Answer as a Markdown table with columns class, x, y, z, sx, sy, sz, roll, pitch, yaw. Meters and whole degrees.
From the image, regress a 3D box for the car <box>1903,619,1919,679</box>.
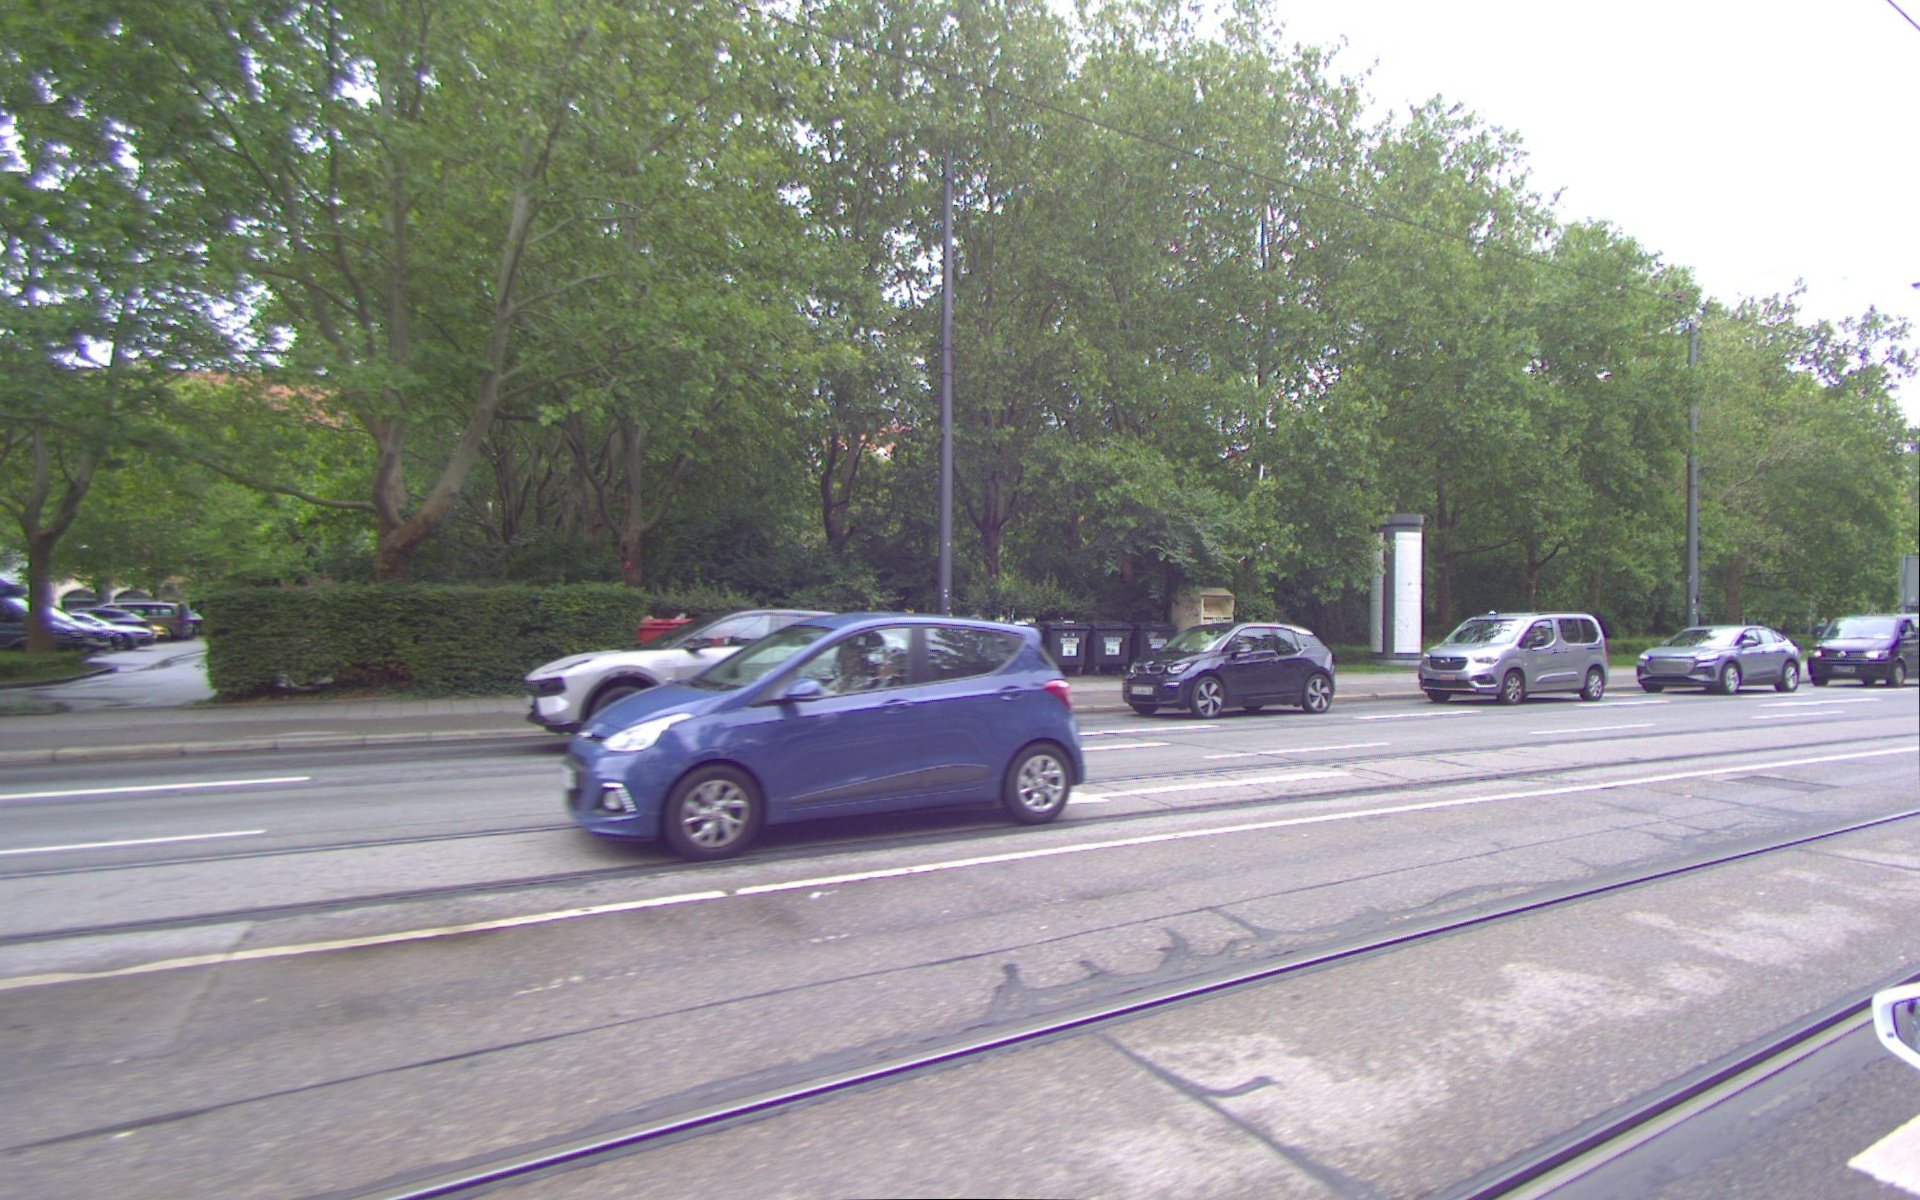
| class | x | y | z | sx | sy | sz | roll | pitch | yaw |
| --- | --- | --- | --- | --- | --- | --- | --- | --- | --- |
| car | 31.567 | 1.517 | 31.331 | 4.463 | 1.812 | 1.792 | 1 | -3 | -29 |

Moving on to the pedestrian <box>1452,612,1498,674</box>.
| class | x | y | z | sx | sy | sz | roll | pitch | yaw |
| --- | --- | --- | --- | --- | --- | --- | --- | --- | --- |
| pedestrian | 14.575 | 1.193 | 28.428 | 0.973 | 1.707 | 0.663 | -1 | 1 | -20 |

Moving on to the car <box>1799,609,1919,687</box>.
| class | x | y | z | sx | sy | sz | roll | pitch | yaw |
| --- | --- | --- | --- | --- | --- | --- | --- | --- | --- |
| car | 25.524 | 1.295 | 27.850 | 4.977 | 2.017 | 1.792 | 1 | -2 | -29 |

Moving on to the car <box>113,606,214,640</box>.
| class | x | y | z | sx | sy | sz | roll | pitch | yaw |
| --- | --- | --- | --- | --- | --- | --- | --- | --- | --- |
| car | -42.722 | 1.203 | 53.975 | 3.953 | 1.729 | 1.984 | -1 | 1 | -30 |

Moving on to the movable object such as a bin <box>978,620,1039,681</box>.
| class | x | y | z | sx | sy | sz | roll | pitch | yaw |
| --- | --- | --- | --- | --- | --- | --- | --- | --- | --- |
| movable object such as a bin | 1.147 | 1.180 | 23.813 | 1.071 | 1.371 | 0.929 | 1 | 2 | -33 |

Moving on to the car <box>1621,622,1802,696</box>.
| class | x | y | z | sx | sy | sz | roll | pitch | yaw |
| --- | --- | --- | --- | --- | --- | --- | --- | --- | --- |
| car | 18.183 | 1.376 | 24.264 | 4.531 | 1.656 | 1.792 | 1 | -2 | -29 |

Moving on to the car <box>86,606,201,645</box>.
| class | x | y | z | sx | sy | sz | roll | pitch | yaw |
| --- | --- | --- | --- | --- | --- | --- | --- | --- | --- |
| car | -39.074 | 1.186 | 48.210 | 3.951 | 1.729 | 1.985 | -1 | 1 | -30 |

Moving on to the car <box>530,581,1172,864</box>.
| class | x | y | z | sx | sy | sz | roll | pitch | yaw |
| --- | --- | --- | --- | --- | --- | --- | --- | --- | --- |
| car | -0.709 | 0.743 | 7.310 | 4.301 | 1.542 | 1.792 | 2 | -2 | -28 |

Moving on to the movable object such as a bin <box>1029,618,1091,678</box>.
| class | x | y | z | sx | sy | sz | roll | pitch | yaw |
| --- | --- | --- | --- | --- | --- | --- | --- | --- | --- |
| movable object such as a bin | 2.424 | 1.159 | 24.459 | 1.146 | 1.371 | 0.929 | 1 | 2 | -33 |

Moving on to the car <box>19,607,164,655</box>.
| class | x | y | z | sx | sy | sz | roll | pitch | yaw |
| --- | --- | --- | --- | --- | --- | --- | --- | --- | --- |
| car | -34.170 | 1.168 | 39.661 | 3.951 | 1.729 | 1.985 | -1 | 1 | -30 |

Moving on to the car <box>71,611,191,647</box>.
| class | x | y | z | sx | sy | sz | roll | pitch | yaw |
| --- | --- | --- | --- | --- | --- | --- | --- | --- | --- |
| car | -37.755 | 1.295 | 45.865 | 3.953 | 1.500 | 1.777 | -1 | 1 | -31 |

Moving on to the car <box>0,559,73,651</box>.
| class | x | y | z | sx | sy | sz | roll | pitch | yaw |
| --- | --- | --- | --- | --- | --- | --- | --- | --- | --- |
| car | -28.977 | 0.166 | 28.149 | 5.786 | 2.569 | 1.987 | -1 | 1 | -26 |

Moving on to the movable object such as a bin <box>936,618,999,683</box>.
| class | x | y | z | sx | sy | sz | roll | pitch | yaw |
| --- | --- | --- | --- | --- | --- | --- | --- | --- | --- |
| movable object such as a bin | 0.178 | 1.147 | 23.170 | 1.071 | 1.371 | 0.928 | 1 | 4 | -33 |

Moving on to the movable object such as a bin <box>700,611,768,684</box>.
| class | x | y | z | sx | sy | sz | roll | pitch | yaw |
| --- | --- | --- | --- | --- | --- | --- | --- | --- | --- |
| movable object such as a bin | -4.619 | 0.956 | 20.501 | 1.071 | 1.371 | 0.928 | 1 | 5 | -33 |

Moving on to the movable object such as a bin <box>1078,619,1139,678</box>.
| class | x | y | z | sx | sy | sz | roll | pitch | yaw |
| --- | --- | --- | --- | --- | --- | --- | --- | --- | --- |
| movable object such as a bin | 3.699 | 1.196 | 24.998 | 1.146 | 1.371 | 0.929 | 1 | 2 | -33 |

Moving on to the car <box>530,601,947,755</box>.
| class | x | y | z | sx | sy | sz | roll | pitch | yaw |
| --- | --- | --- | --- | --- | --- | --- | --- | --- | --- |
| car | -2.753 | 0.912 | 12.881 | 4.937 | 1.664 | 1.792 | 1 | -2 | -29 |

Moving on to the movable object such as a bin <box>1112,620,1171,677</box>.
| class | x | y | z | sx | sy | sz | roll | pitch | yaw |
| --- | --- | --- | --- | --- | --- | --- | --- | --- | --- |
| movable object such as a bin | 4.669 | 1.227 | 25.857 | 1.146 | 1.371 | 0.929 | 1 | 2 | -33 |

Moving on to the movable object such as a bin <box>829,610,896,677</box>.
| class | x | y | z | sx | sy | sz | roll | pitch | yaw |
| --- | --- | --- | --- | --- | --- | --- | --- | --- | --- |
| movable object such as a bin | -2.128 | 0.927 | 21.800 | 1.117 | 1.371 | 0.928 | 1 | 2 | -33 |

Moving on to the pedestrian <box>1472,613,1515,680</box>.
| class | x | y | z | sx | sy | sz | roll | pitch | yaw |
| --- | --- | --- | --- | --- | --- | --- | --- | --- | --- |
| pedestrian | 14.668 | 1.264 | 27.631 | 0.806 | 1.813 | 0.663 | 1 | 0 | -20 |

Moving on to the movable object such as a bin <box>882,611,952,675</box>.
| class | x | y | z | sx | sy | sz | roll | pitch | yaw |
| --- | --- | --- | --- | --- | --- | --- | --- | --- | --- |
| movable object such as a bin | -0.963 | 0.947 | 22.600 | 1.264 | 1.371 | 0.929 | 1 | 1 | -33 |

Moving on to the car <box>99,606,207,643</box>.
| class | x | y | z | sx | sy | sz | roll | pitch | yaw |
| --- | --- | --- | --- | --- | --- | --- | --- | --- | --- |
| car | -40.800 | 1.194 | 50.888 | 3.953 | 1.729 | 1.984 | -1 | 1 | -30 |

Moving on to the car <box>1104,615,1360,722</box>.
| class | x | y | z | sx | sy | sz | roll | pitch | yaw |
| --- | --- | --- | --- | --- | --- | --- | --- | --- | --- |
| car | 4.800 | 1.135 | 17.605 | 4.300 | 1.689 | 1.792 | 1 | -2 | -29 |

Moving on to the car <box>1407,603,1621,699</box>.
| class | x | y | z | sx | sy | sz | roll | pitch | yaw |
| --- | --- | --- | --- | --- | --- | --- | --- | --- | --- |
| car | 11.435 | 1.017 | 20.689 | 4.417 | 1.803 | 1.792 | 1 | -2 | -29 |

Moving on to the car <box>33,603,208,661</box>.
| class | x | y | z | sx | sy | sz | roll | pitch | yaw |
| --- | --- | --- | --- | --- | --- | --- | --- | --- | --- |
| car | -26.682 | 0.969 | 32.115 | 3.953 | 1.684 | 1.984 | -1 | 1 | -30 |
